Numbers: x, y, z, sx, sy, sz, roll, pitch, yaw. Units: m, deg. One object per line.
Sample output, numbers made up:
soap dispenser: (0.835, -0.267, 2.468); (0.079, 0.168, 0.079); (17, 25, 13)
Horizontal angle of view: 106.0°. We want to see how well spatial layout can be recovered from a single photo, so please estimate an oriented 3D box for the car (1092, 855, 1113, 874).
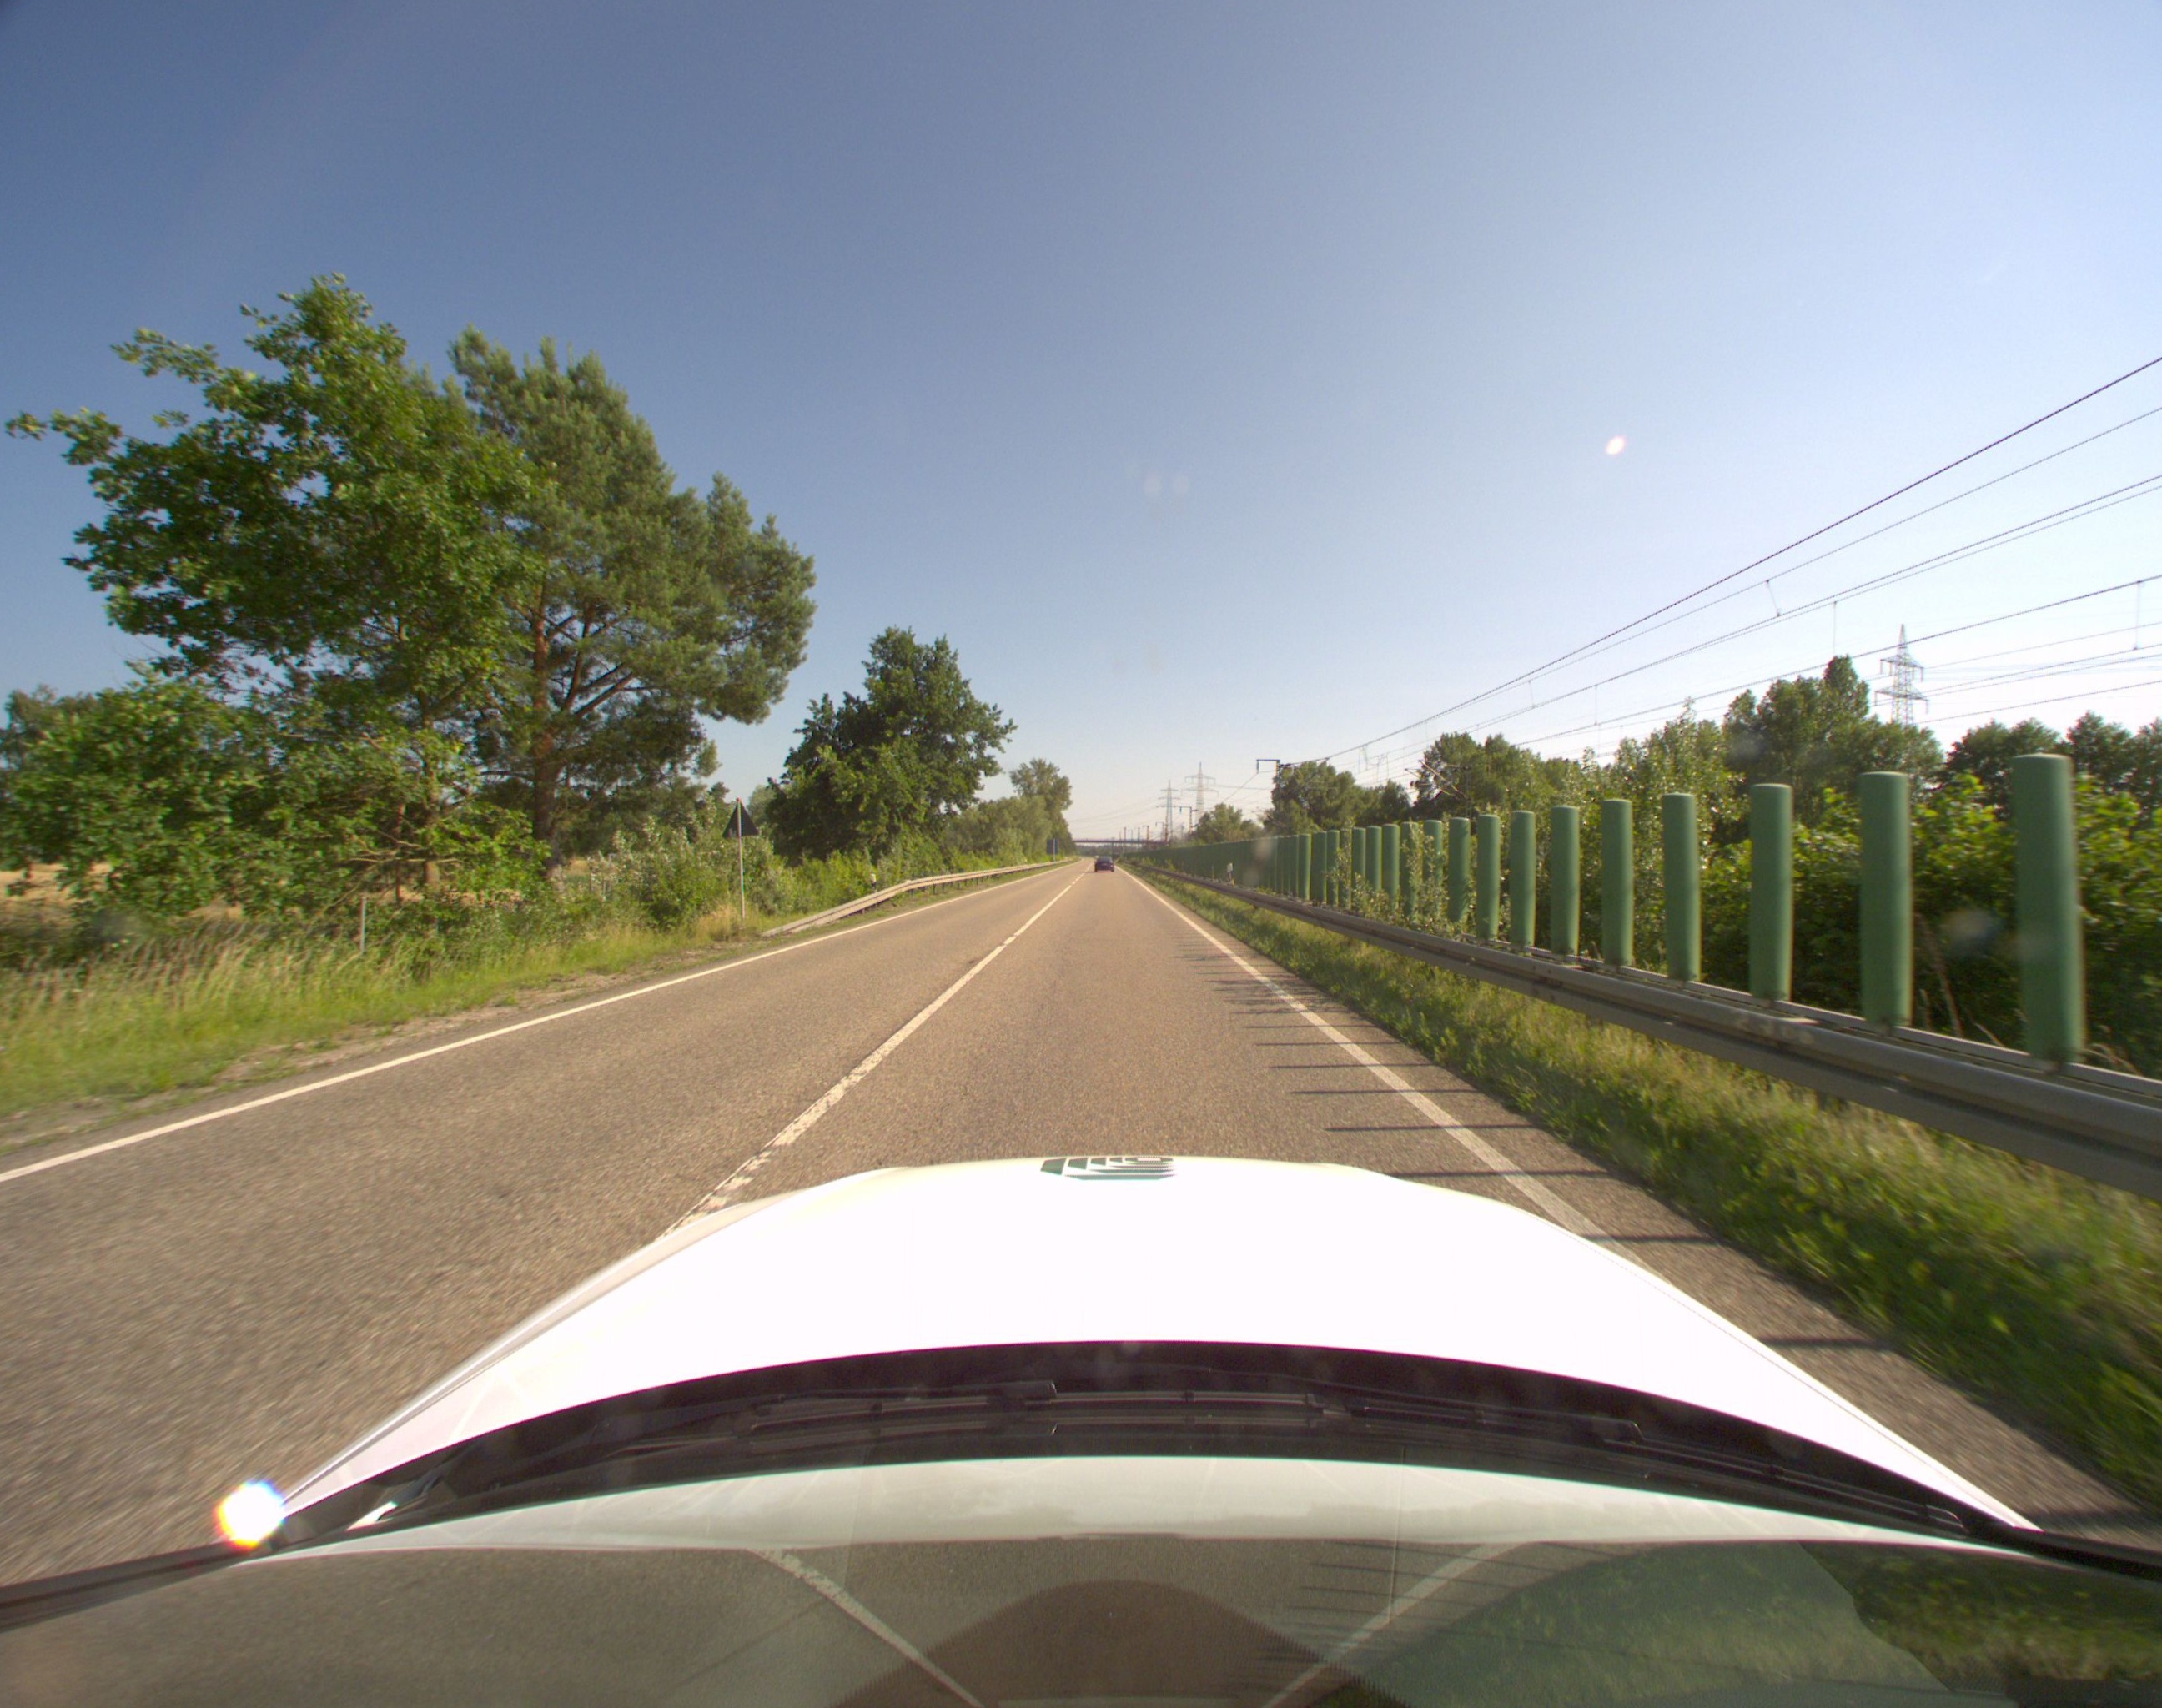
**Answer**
car: (1.977, 0.970, 76.836); (1.852, 1.642, 4.000); (-2, 0, 0)
